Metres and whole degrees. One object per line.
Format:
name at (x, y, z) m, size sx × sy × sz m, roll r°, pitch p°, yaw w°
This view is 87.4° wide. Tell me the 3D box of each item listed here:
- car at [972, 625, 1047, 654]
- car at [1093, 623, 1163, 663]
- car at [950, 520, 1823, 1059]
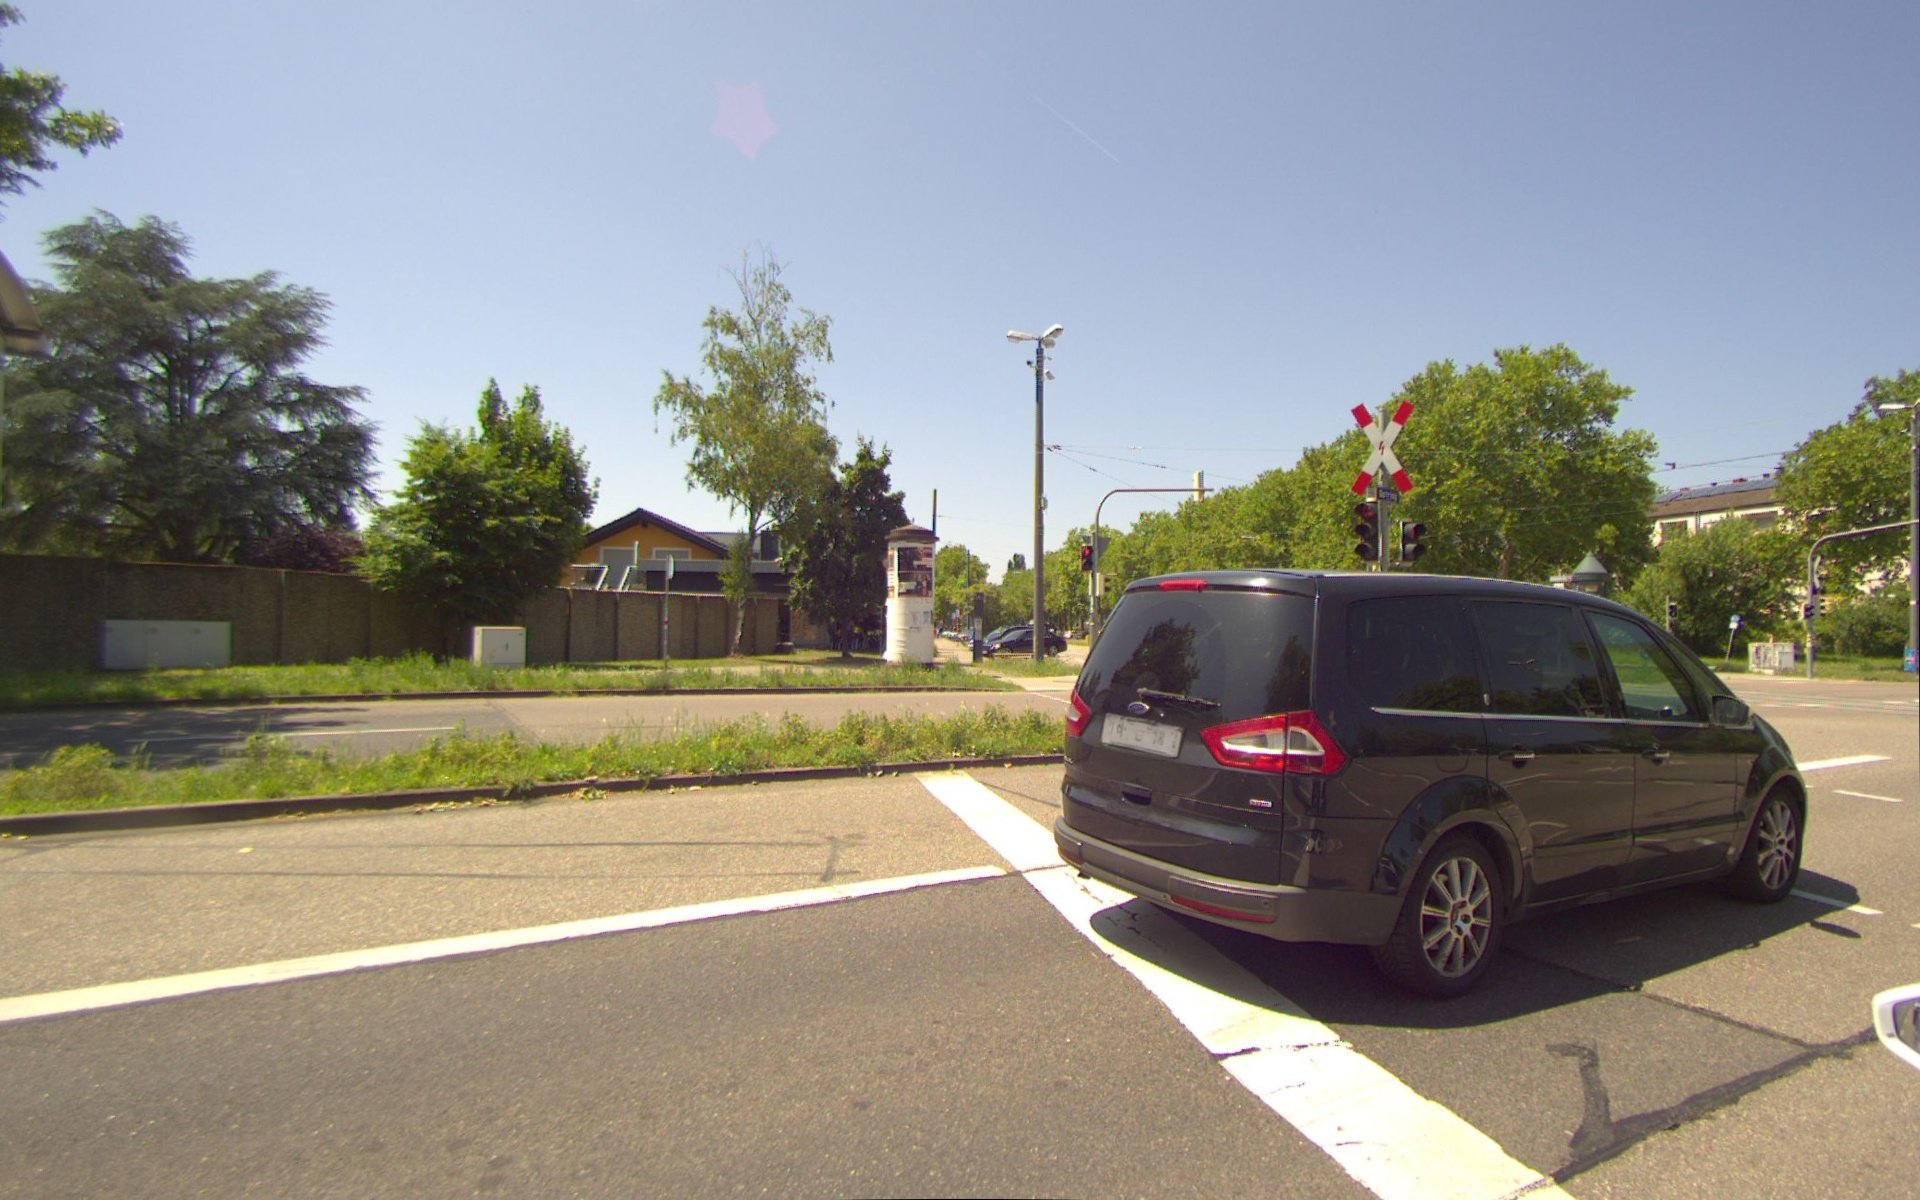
car at (2.915, 2.306, 58.814) m, size 4.145 × 1.672 × 1.770 m, roll 2°, pitch -2°, yaw -30°
car at (7.169, 1.805, 43.336) m, size 2.173 × 1.626 × 4.461 m, roll 1°, pitch -1°, yaw -2°
car at (2.396, 0.677, 5.279) m, size 4.594 × 1.779 × 1.845 m, roll 1°, pitch -1°, yaw -30°
